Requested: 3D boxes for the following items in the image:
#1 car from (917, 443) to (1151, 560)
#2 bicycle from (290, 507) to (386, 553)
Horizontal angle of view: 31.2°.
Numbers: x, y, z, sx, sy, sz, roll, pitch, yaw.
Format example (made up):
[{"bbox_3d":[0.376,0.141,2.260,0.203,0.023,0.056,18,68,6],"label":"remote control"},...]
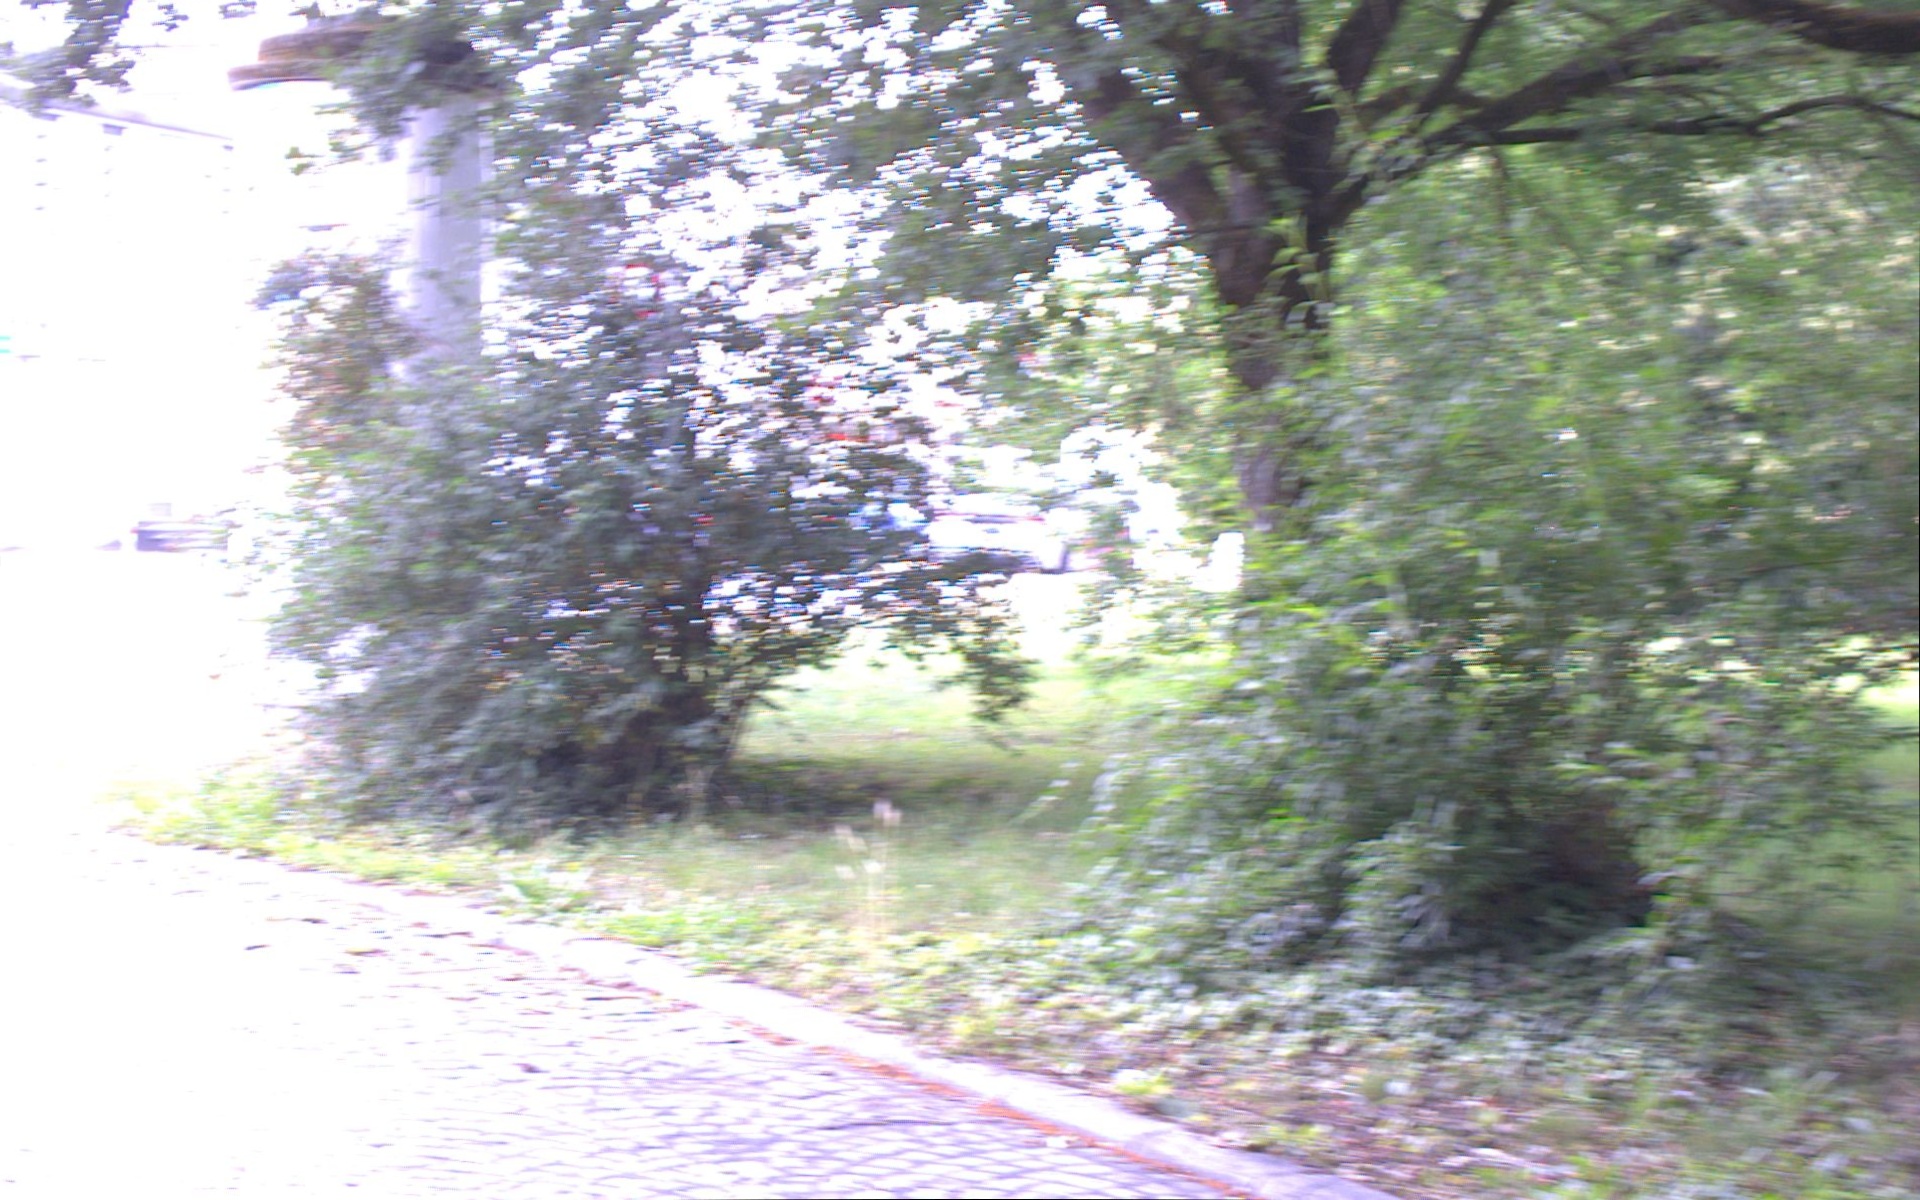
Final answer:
[{"bbox_3d":[1.218,-1.561,53.707,1.984,1.678,4.569,3,3,24],"label":"car"},{"bbox_3d":[-11.328,-1.272,62.654,1.669,0.755,0.570,2,2,-7],"label":"bicycle"}]
